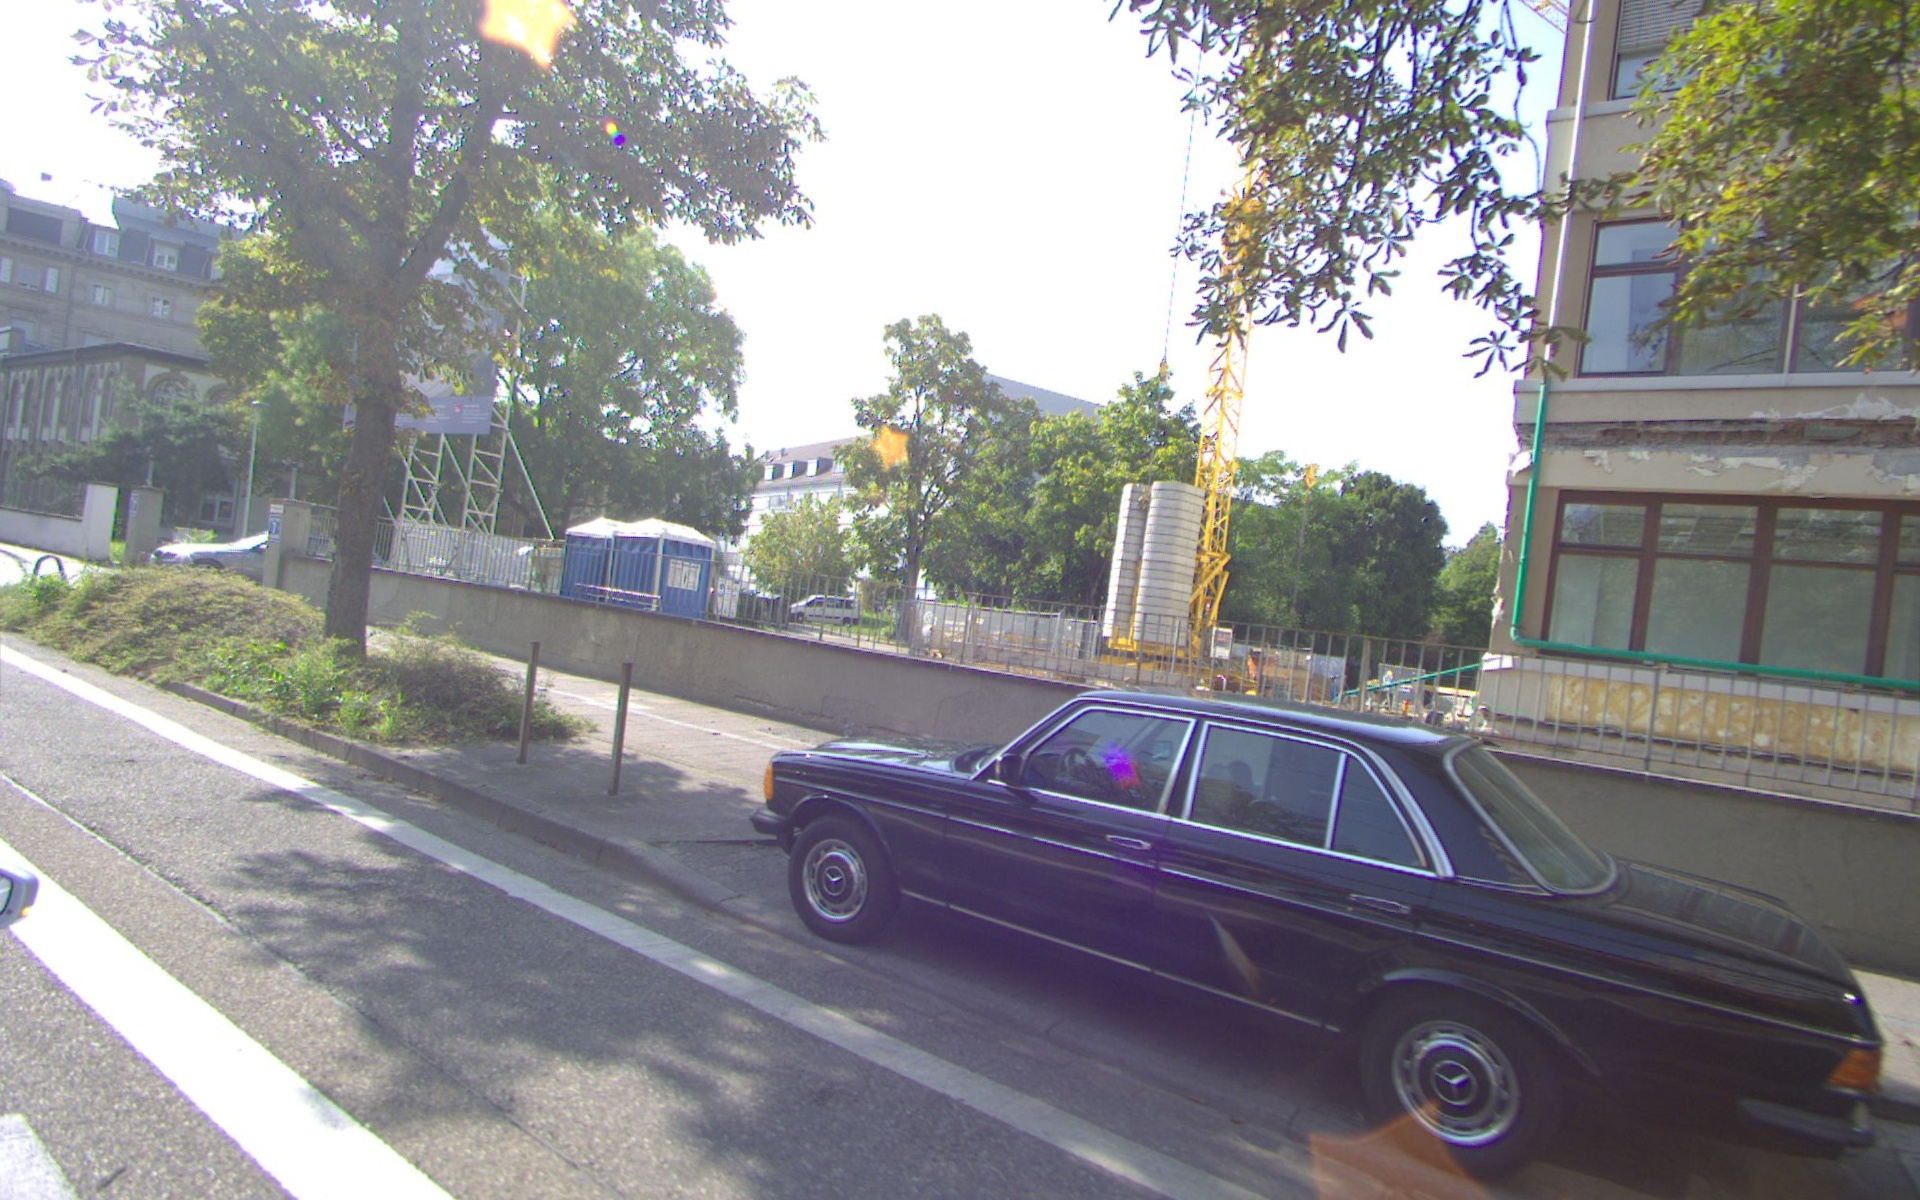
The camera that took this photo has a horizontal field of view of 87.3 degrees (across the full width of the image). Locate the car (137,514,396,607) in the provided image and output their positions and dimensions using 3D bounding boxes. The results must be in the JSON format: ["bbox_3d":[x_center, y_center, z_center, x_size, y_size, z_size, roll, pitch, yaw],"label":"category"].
[{"bbox_3d":[-15.415,-0.843,22.541,1.781,1.427,4.414,7,-1,42],"label":"car"}]

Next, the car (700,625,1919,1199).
[{"bbox_3d":[1.088,1.108,4.716,4.643,1.395,1.754,7,1,34],"label":"car"}]
